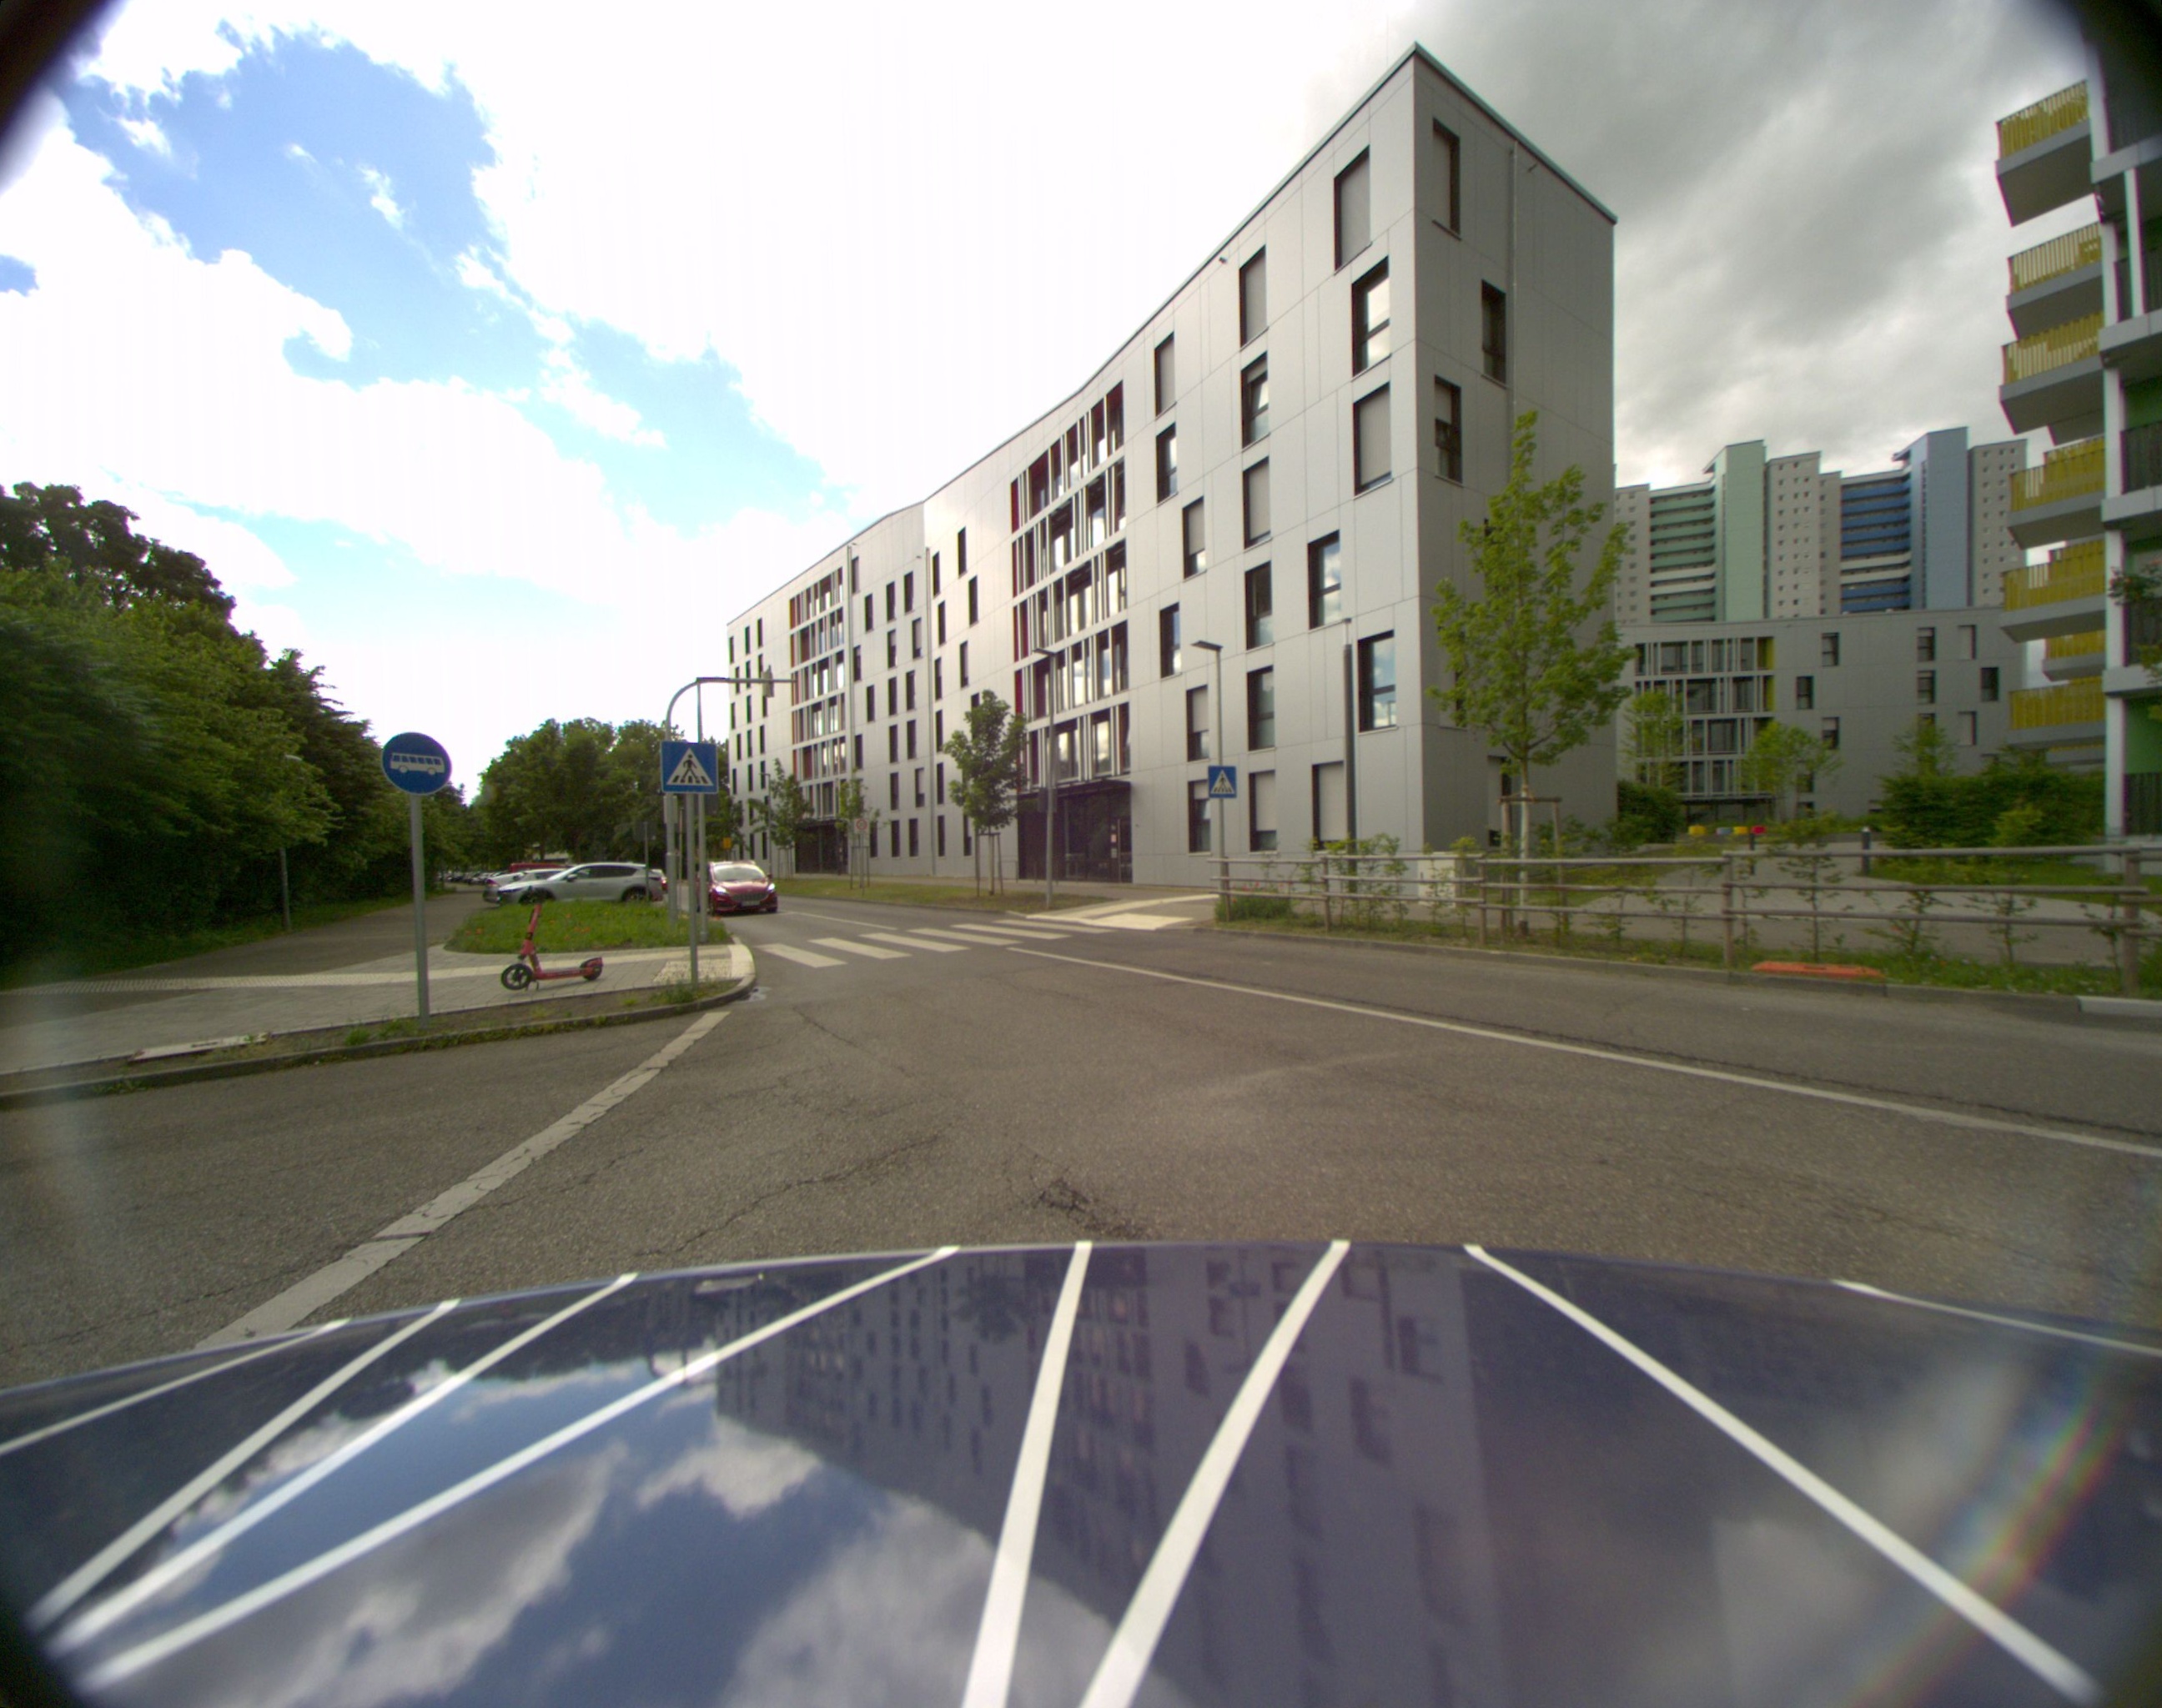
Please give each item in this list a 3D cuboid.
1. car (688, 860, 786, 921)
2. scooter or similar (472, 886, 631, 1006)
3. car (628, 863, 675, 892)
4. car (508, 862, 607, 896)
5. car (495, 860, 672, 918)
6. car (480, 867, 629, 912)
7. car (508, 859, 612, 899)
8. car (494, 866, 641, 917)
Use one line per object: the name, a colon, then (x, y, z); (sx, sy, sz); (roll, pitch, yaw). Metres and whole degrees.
car: (-10.954, 1.061, 24.014); (1.937, 1.622, 4.231); (-4, 2, -36)
scooter or similar: (-6.606, 1.099, 9.568); (0.571, 1.305, 1.528); (-1, 1, 23)
car: (-25.276, 1.347, 44.661); (1.822, 1.608, 3.989); (-1, 0, -37)
car: (-29.940, 1.404, 43.533); (4.574, 1.887, 1.879); (1, -1, -38)
car: (-16.224, 1.088, 24.911); (4.673, 1.741, 2.064); (1, -1, -40)
car: (-19.788, 1.279, 28.650); (4.501, 1.553, 1.906); (0, -1, -38)
car: (-26.802, 1.254, 39.158); (4.303, 1.881, 1.833); (-1, 0, -38)
car: (-18.125, 1.272, 26.927); (4.176, 1.577, 1.791); (-1, 0, -38)
